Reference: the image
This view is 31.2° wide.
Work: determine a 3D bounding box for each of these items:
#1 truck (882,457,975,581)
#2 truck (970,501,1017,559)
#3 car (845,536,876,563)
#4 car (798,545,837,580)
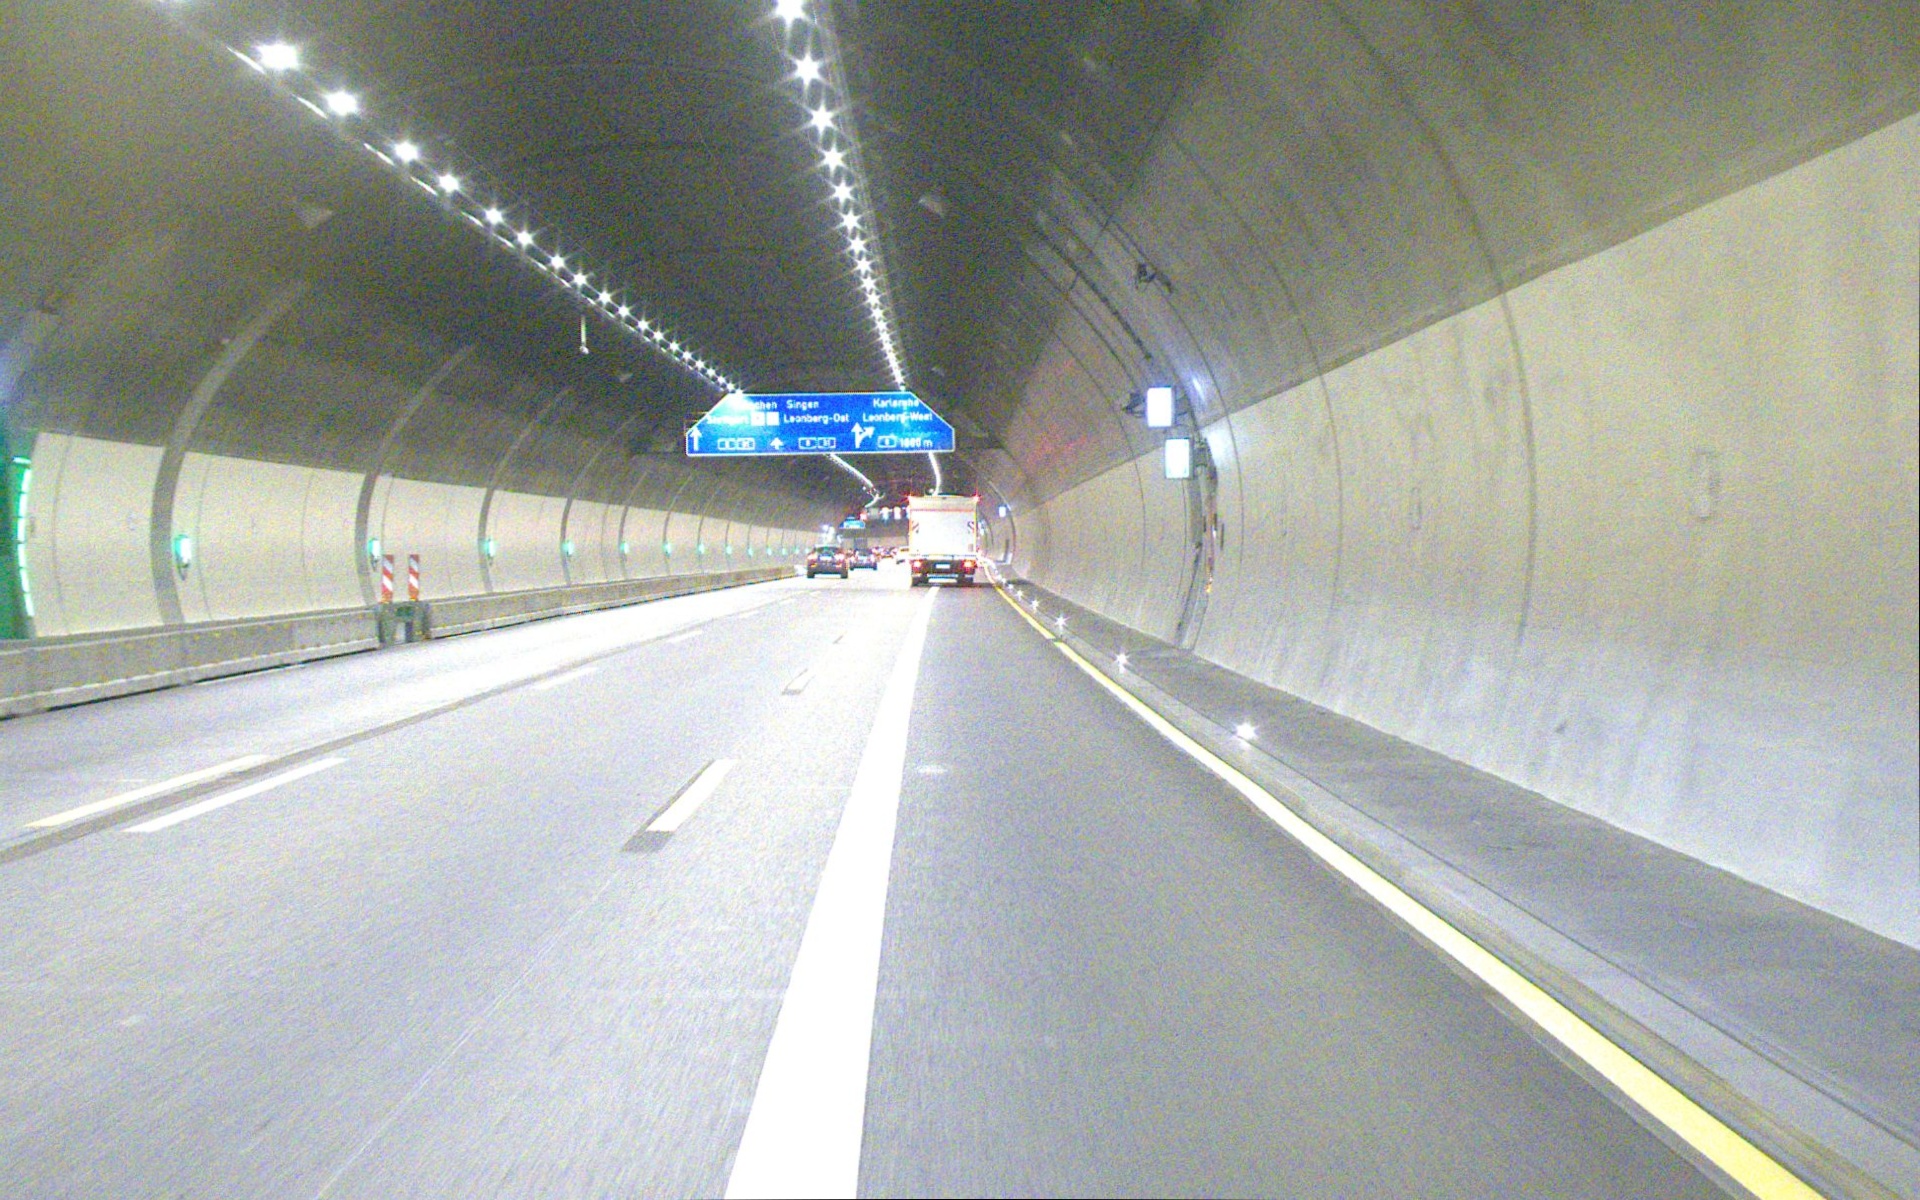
[{"bbox_3d":[-1.377,-3.180,137.179,3.278,4.634,17.288,0,1,-2],"label":"truck"},{"bbox_3d":[2.387,-5.066,249.942,2.922,4.034,14.031,0,1,-2],"label":"truck"},{"bbox_3d":[-6.348,-3.214,218.531,1.812,1.514,4.001,1,2,-4],"label":"car"},{"bbox_3d":[-6.724,-1.776,162.134,1.812,1.612,4.001,1,1,-2],"label":"car"}]
